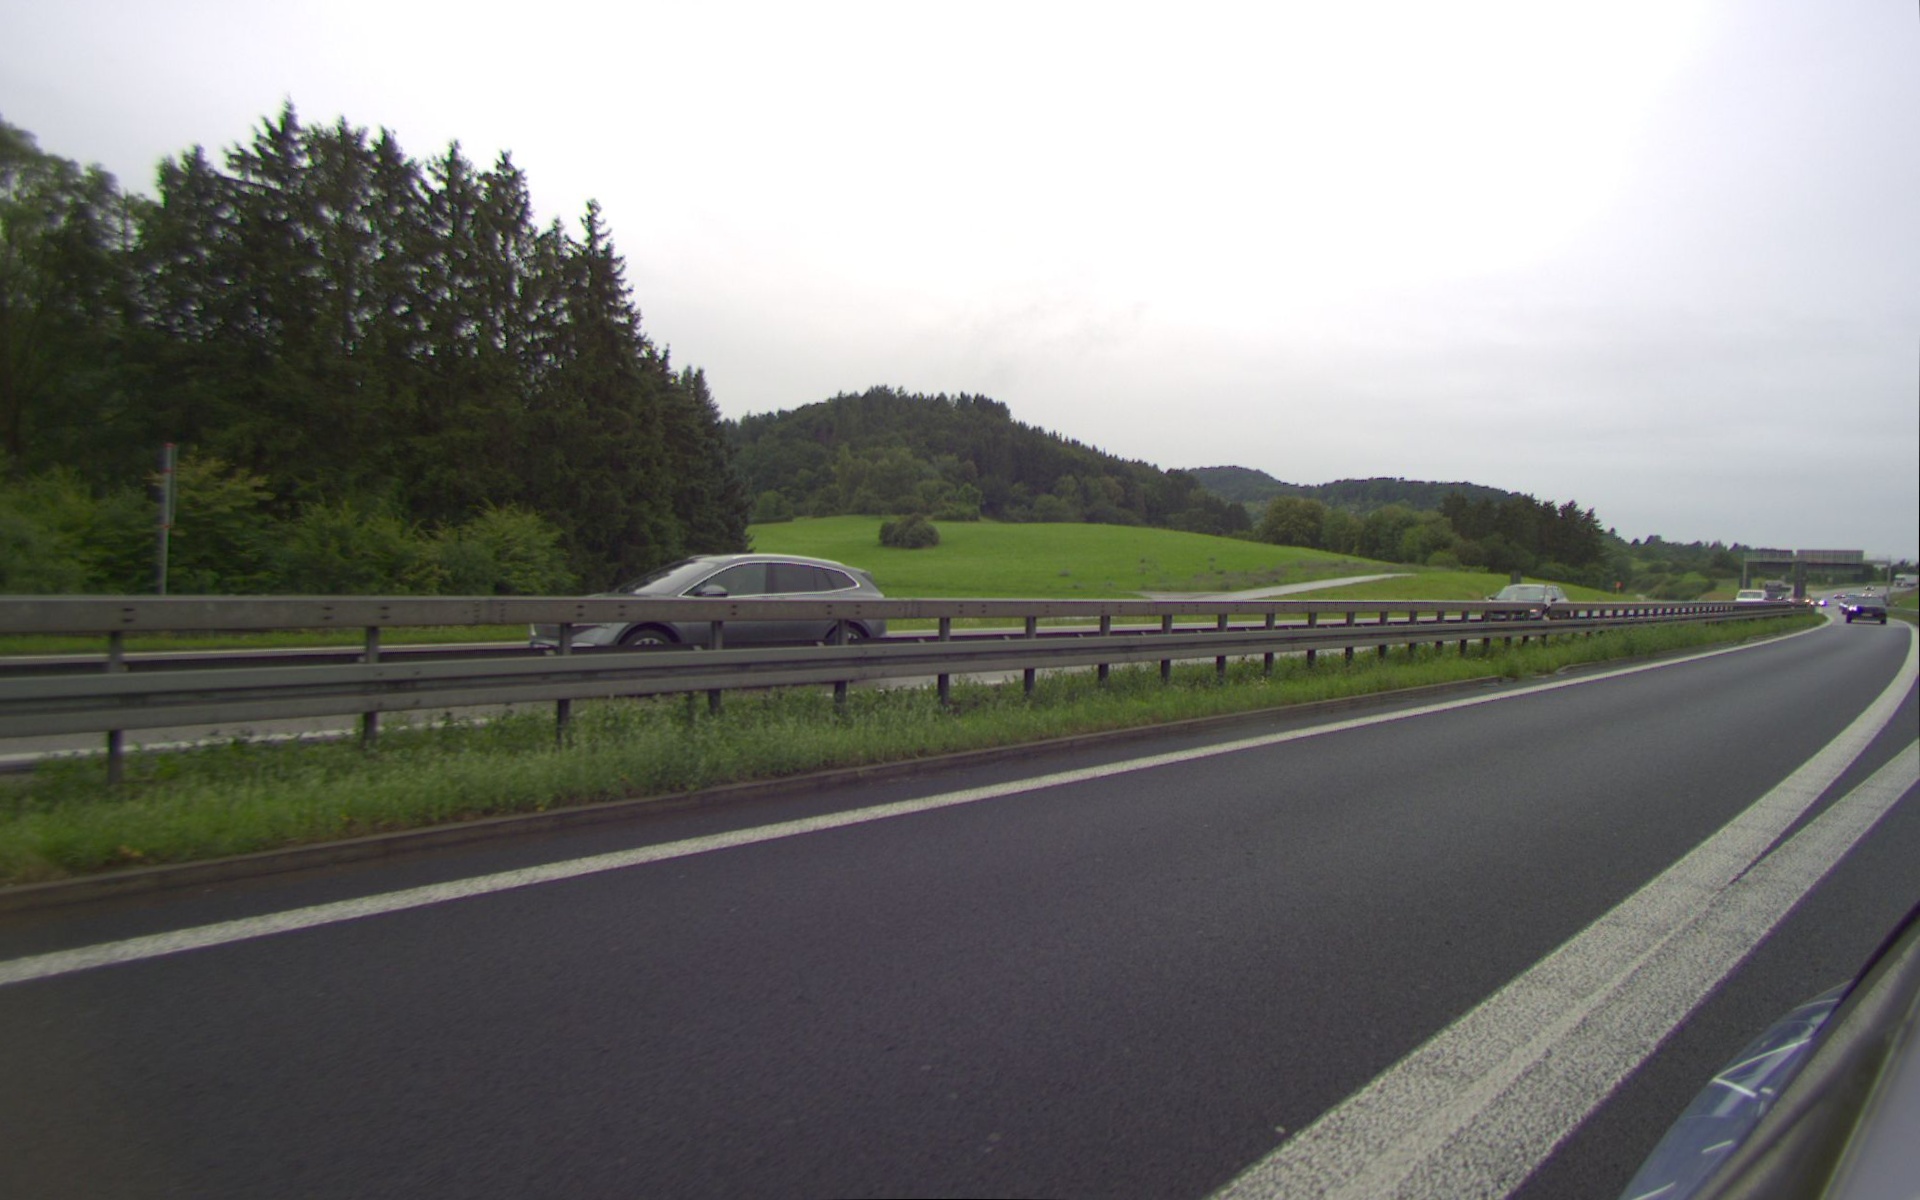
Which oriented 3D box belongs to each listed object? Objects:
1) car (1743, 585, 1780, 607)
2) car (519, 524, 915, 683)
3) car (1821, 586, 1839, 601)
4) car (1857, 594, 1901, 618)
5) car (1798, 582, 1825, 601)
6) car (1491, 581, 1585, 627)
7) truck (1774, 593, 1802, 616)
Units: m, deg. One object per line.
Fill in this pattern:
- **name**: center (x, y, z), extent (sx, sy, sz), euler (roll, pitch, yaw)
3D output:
- **car**: center (62.736, -0.335, 79.179), extent (1.909, 1.715, 4.645), euler (1, 1, 43)
- **car**: center (-2.850, 0.002, 12.621), extent (4.567, 1.630, 1.771), euler (-1, 1, -44)
- **car**: center (122.165, -0.952, 142.054), extent (1.822, 2.049, 3.940), euler (1, 1, 41)
- **car**: center (56.980, 0.346, 62.828), extent (1.860, 1.374, 4.500), euler (1, 1, 40)
- **car**: center (94.181, -0.921, 111.925), extent (2.123, 2.039, 5.000), euler (1, 1, 42)
- **car**: center (18.715, 0.082, 32.685), extent (1.667, 1.400, 4.060), euler (1, 1, 45)
- **truck**: center (142.794, 0.720, 174.518), extent (9.865, 3.949, 2.793), euler (-1, 1, -45)
